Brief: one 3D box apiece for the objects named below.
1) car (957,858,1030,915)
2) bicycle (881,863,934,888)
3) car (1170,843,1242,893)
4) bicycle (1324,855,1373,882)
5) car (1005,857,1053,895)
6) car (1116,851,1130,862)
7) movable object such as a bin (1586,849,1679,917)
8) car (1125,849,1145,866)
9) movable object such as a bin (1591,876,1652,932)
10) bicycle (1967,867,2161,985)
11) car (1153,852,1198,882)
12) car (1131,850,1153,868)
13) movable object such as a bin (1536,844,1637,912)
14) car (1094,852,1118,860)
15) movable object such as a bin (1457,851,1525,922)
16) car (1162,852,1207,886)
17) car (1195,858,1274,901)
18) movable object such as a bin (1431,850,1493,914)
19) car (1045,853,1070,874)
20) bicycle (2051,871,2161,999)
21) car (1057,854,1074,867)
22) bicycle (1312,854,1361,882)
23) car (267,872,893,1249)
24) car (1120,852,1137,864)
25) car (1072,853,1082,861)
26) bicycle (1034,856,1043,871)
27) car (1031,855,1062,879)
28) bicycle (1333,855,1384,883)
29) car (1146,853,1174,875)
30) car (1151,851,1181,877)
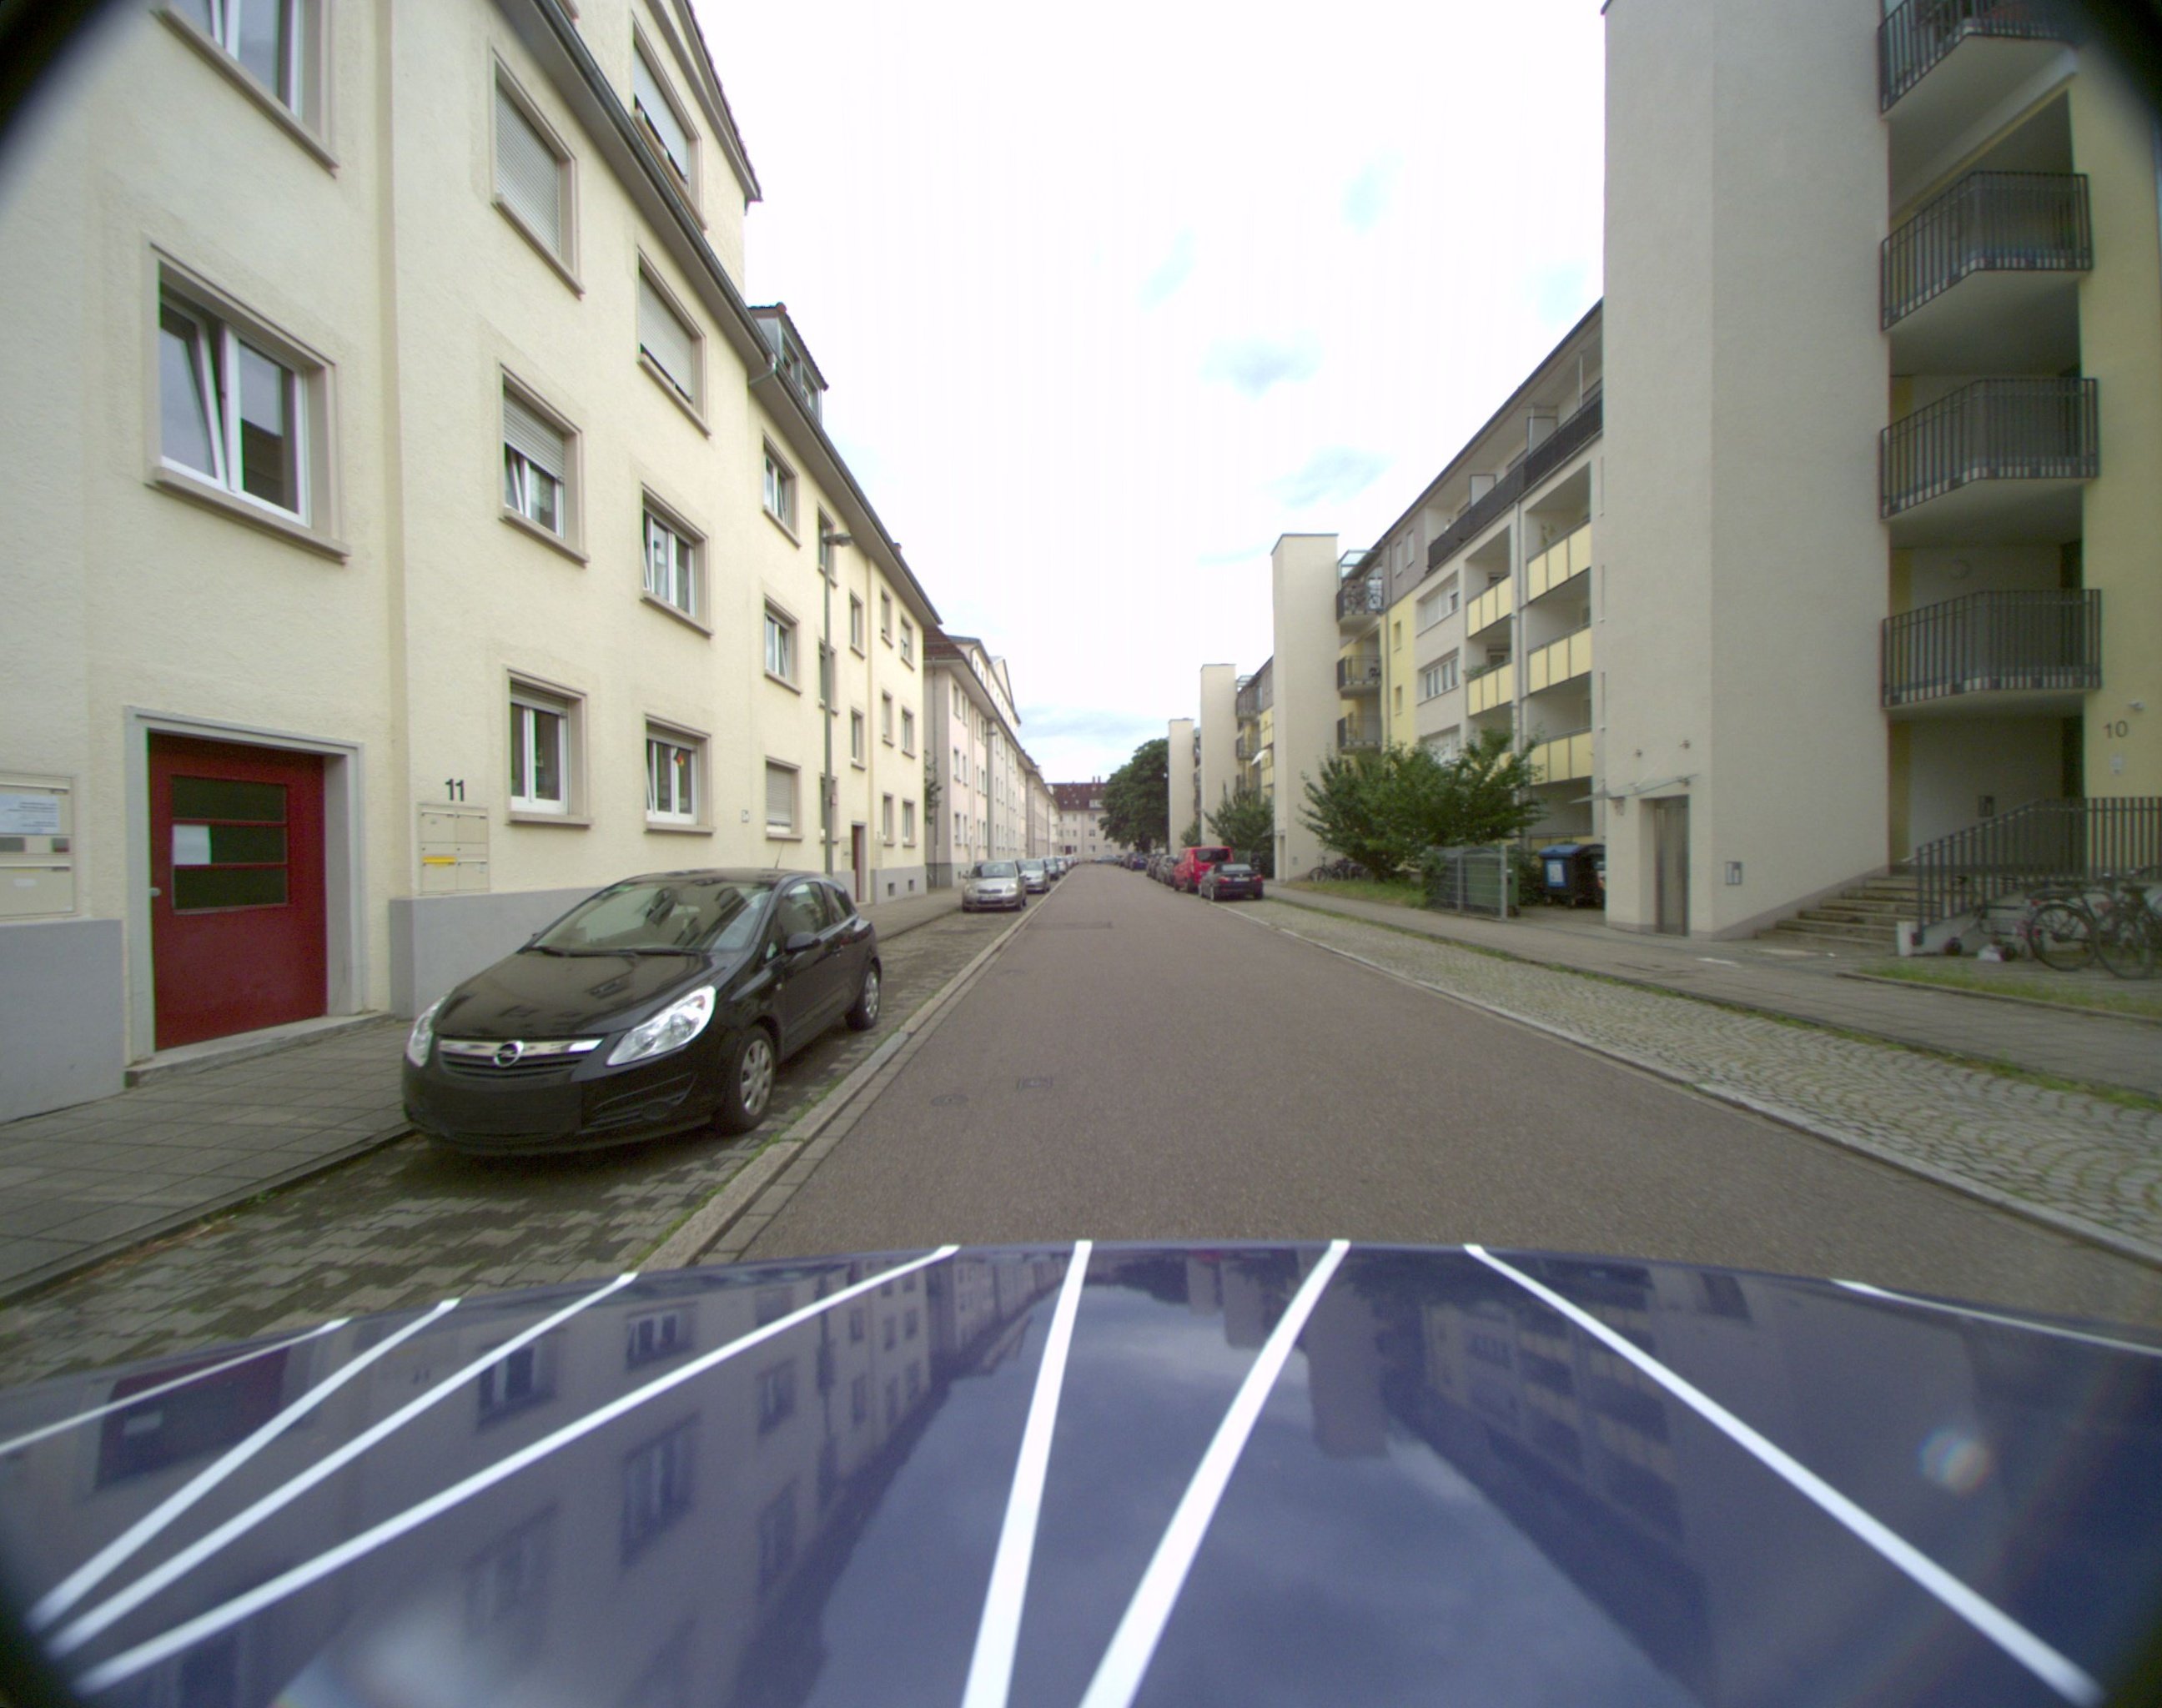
[{"bbox_3d":[-2.507,0.891,22.692,1.729,1.508,4.060,-1,0,-1],"label":"car"},{"bbox_3d":[-7.788,0.950,34.151,2.213,1.070,0.648,-1,1,0],"label":"bicycle"},{"bbox_3d":[5.370,0.562,33.442,2.157,1.942,4.920,-3,0,-2],"label":"car"},{"bbox_3d":[11.255,0.612,31.949,1.839,1.112,0.570,-1,1,2],"label":"bicycle"},{"bbox_3d":[-2.193,0.898,32.914,1.729,1.483,4.060,-1,0,0],"label":"car"},{"bbox_3d":[6.602,0.337,120.898,2.000,1.566,4.209,-3,0,1],"label":"car"},{"bbox_3d":[11.508,0.574,15.906,0.981,1.332,1.288,-2,1,1],"label":"movable object such as a bin"},{"bbox_3d":[6.087,0.402,85.461,1.891,1.844,4.785,-1,0,0],"label":"car"},{"bbox_3d":[9.799,0.892,13.786,0.637,0.959,0.652,-1,1,1],"label":"movable object such as a bin"},{"bbox_3d":[10.643,0.732,8.080,2.029,1.135,0.622,-1,1,-9],"label":"bicycle"},{"bbox_3d":[5.414,0.703,44.019,1.839,1.561,4.860,-3,0,-2],"label":"car"},{"bbox_3d":[5.874,0.463,73.518,1.804,1.617,4.472,-2,0,1],"label":"car"},{"bbox_3d":[11.492,0.525,17.327,1.355,1.456,1.372,-2,1,-1],"label":"movable object such as a bin"},{"bbox_3d":[4.743,0.334,143.831,4.545,1.551,1.565,0,1,5],"label":"car"},{"bbox_3d":[8.718,0.667,16.207,0.805,1.421,1.288,-2,1,4],"label":"movable object such as a bin"},{"bbox_3d":[5.249,0.715,38.999,1.725,1.561,4.054,-3,0,1],"label":"car"},{"bbox_3d":[5.408,0.845,27.365,1.875,1.316,4.361,-3,0,-1],"label":"car"},{"bbox_3d":[8.777,0.620,17.539,0.805,1.421,1.288,-2,1,3],"label":"movable object such as a bin"},{"bbox_3d":[-1.873,0.754,61.448,1.788,1.590,3.805,-2,0,2],"label":"car"},{"bbox_3d":[10.759,0.750,7.456,2.029,1.135,0.622,-1,1,-9],"label":"bicycle"},{"bbox_3d":[-1.684,0.680,83.317,1.792,1.455,4.040,0,0,1],"label":"car"},{"bbox_3d":[10.961,0.600,32.625,1.839,1.112,0.605,-2,1,-1],"label":"bicycle"},{"bbox_3d":[-2.718,0.962,5.403,1.729,1.508,4.060,-2,0,-1],"label":"car"},{"bbox_3d":[6.254,0.514,100.707,1.919,1.431,4.434,-3,0,-1],"label":"car"},{"bbox_3d":[-0.707,0.540,129.552,1.563,1.334,3.788,0,0,1],"label":"car"},{"bbox_3d":[-3.513,0.780,62.886,0.607,1.133,2.125,0,0,0],"label":"bicycle"},{"bbox_3d":[-2.147,0.785,48.483,1.729,1.460,4.264,-1,0,0],"label":"car"},{"bbox_3d":[11.298,0.617,30.972,1.838,1.112,0.570,-1,1,7],"label":"bicycle"},{"bbox_3d":[5.721,0.687,55.358,1.647,1.430,3.856,-3,0,1],"label":"car"},{"bbox_3d":[5.515,0.636,49.753,1.657,1.521,3.895,-3,0,3],"label":"car"}]
